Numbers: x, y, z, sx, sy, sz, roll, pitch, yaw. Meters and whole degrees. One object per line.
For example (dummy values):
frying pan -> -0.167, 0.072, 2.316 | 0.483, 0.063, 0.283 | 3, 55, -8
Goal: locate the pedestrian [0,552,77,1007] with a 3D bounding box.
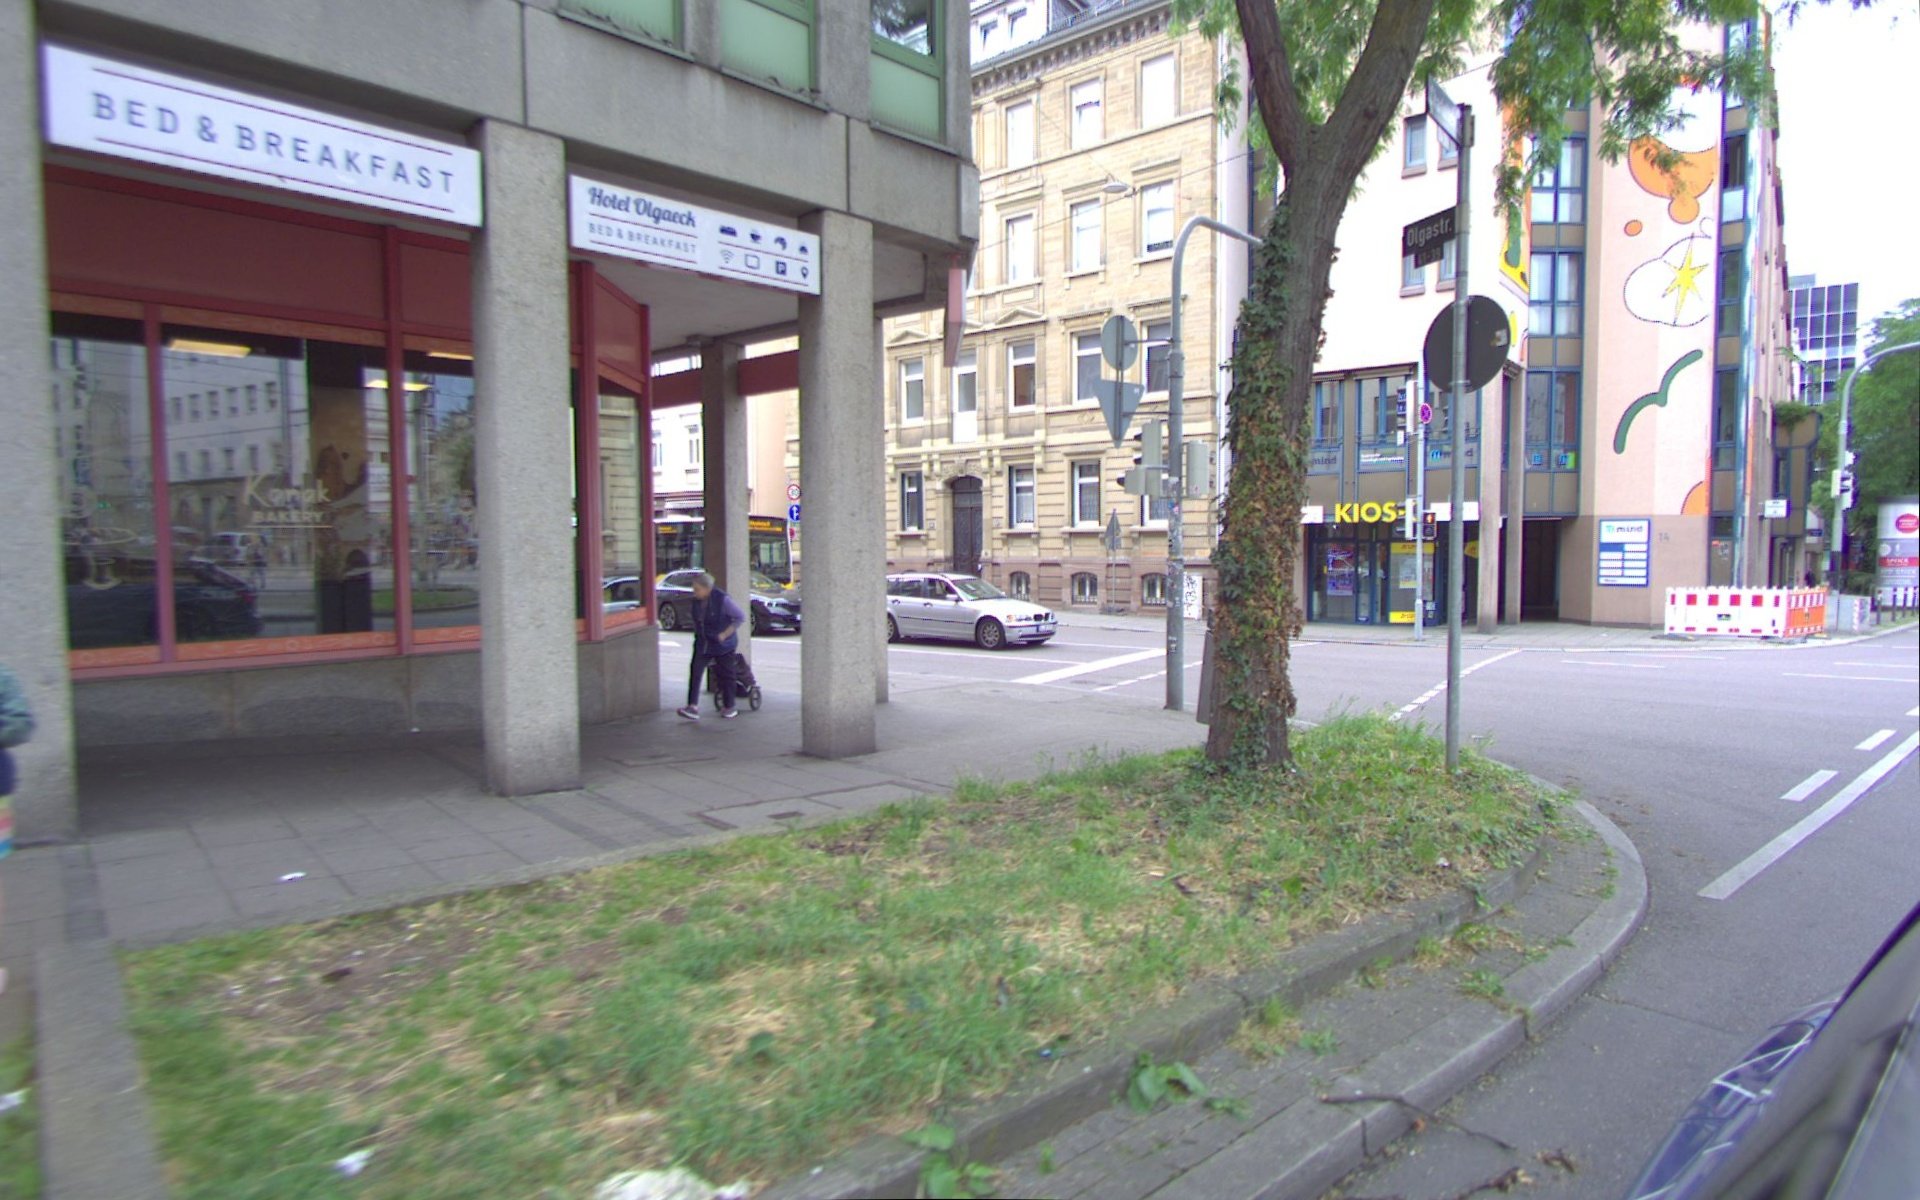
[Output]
pedestrian -> -3.089, 0.536, 3.101 | 0.471, 1.350, 0.511 | 0, 2, 44

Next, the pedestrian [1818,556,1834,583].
pedestrian -> 57.037, -2.005, 66.641 | 0.676, 1.732, 0.710 | -1, 1, -42

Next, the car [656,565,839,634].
car -> -5.111, -0.082, 24.119 | 4.245, 1.507, 1.974 | 1, 2, 37

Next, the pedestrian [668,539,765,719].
pedestrian -> -2.470, 0.281, 10.384 | 0.839, 1.734, 1.127 | 0, -1, -7

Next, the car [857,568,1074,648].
car -> 0.058, 0.076, 20.493 | 4.137, 1.446, 1.830 | 1, 2, 37

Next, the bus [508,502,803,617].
bus -> -9.944, -1.244, 31.900 | 11.531, 3.080, 2.836 | 1, 2, 38
